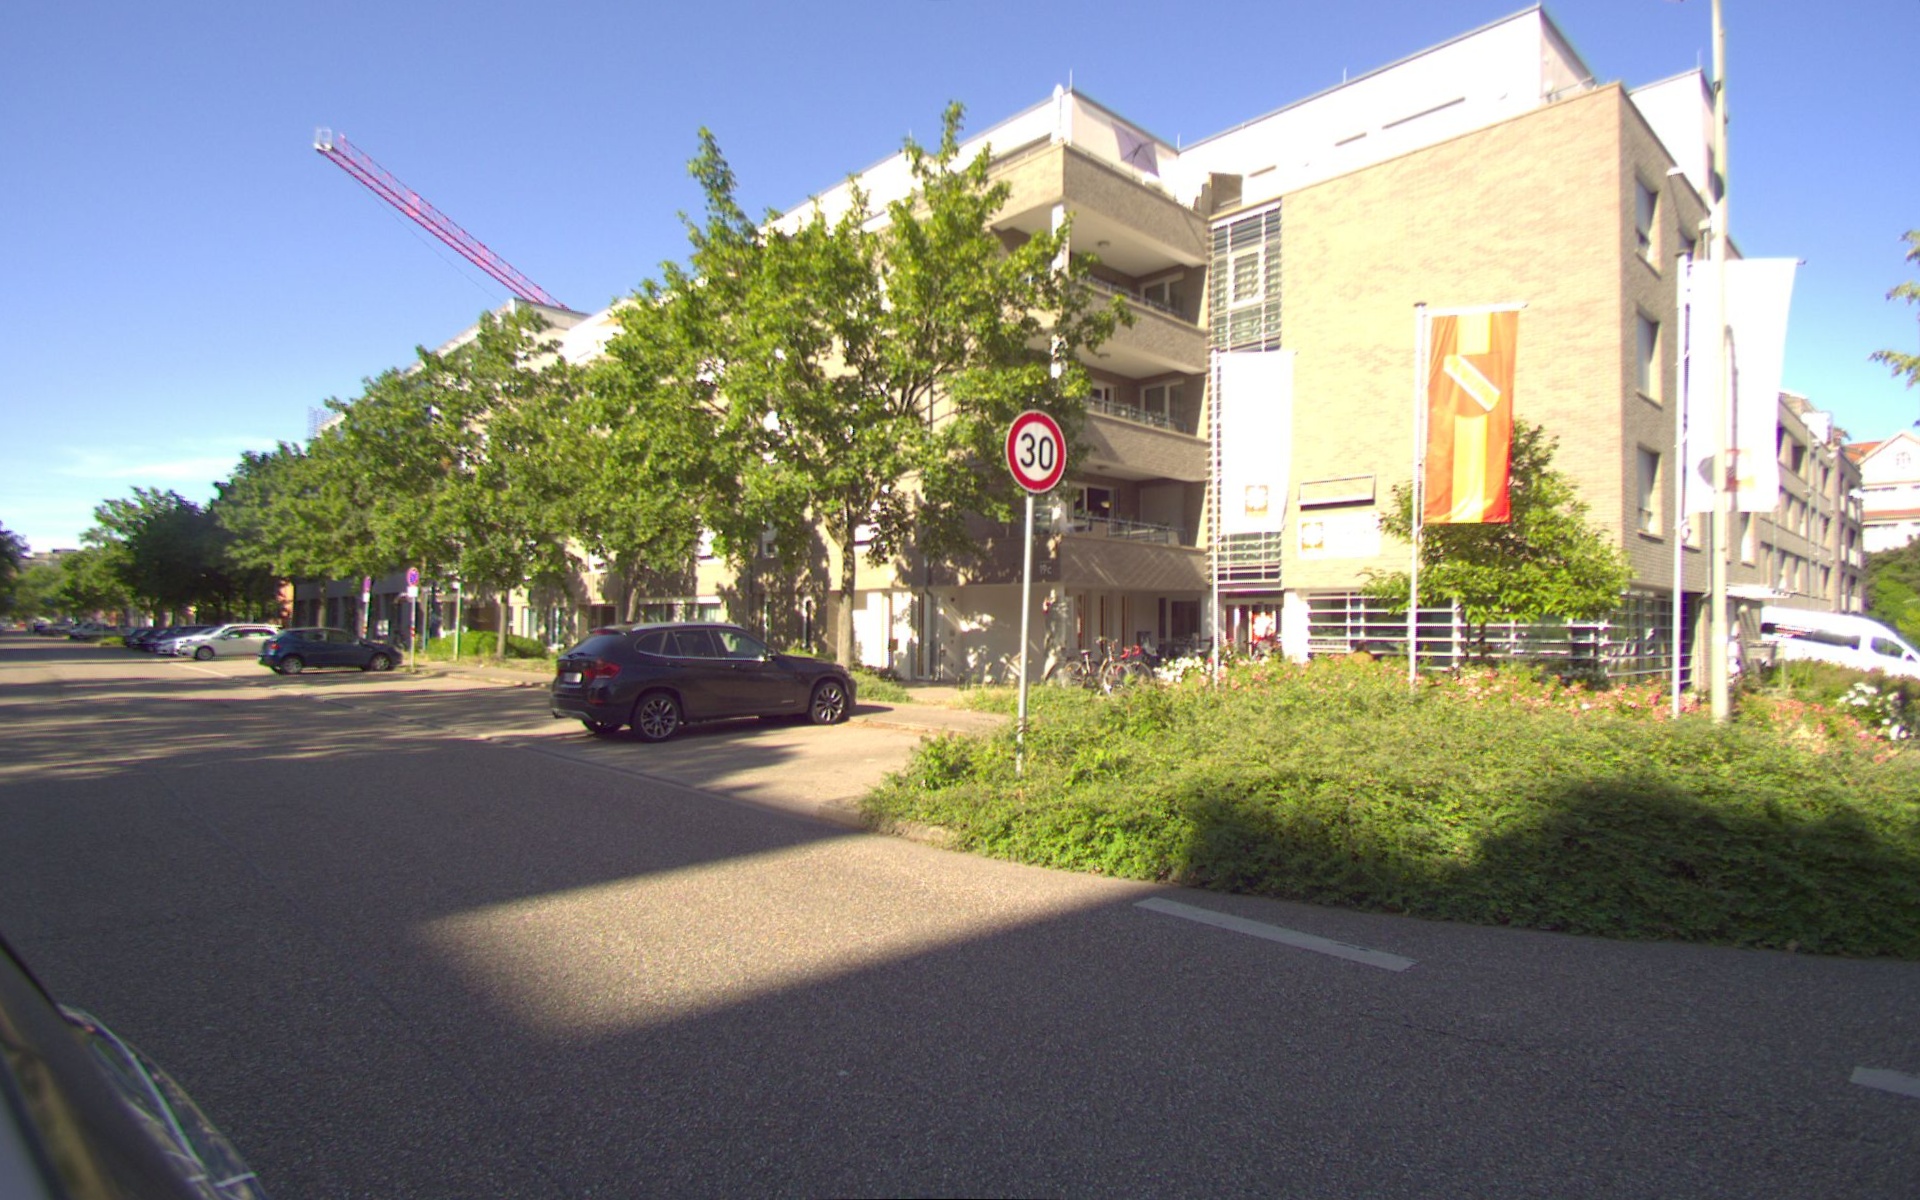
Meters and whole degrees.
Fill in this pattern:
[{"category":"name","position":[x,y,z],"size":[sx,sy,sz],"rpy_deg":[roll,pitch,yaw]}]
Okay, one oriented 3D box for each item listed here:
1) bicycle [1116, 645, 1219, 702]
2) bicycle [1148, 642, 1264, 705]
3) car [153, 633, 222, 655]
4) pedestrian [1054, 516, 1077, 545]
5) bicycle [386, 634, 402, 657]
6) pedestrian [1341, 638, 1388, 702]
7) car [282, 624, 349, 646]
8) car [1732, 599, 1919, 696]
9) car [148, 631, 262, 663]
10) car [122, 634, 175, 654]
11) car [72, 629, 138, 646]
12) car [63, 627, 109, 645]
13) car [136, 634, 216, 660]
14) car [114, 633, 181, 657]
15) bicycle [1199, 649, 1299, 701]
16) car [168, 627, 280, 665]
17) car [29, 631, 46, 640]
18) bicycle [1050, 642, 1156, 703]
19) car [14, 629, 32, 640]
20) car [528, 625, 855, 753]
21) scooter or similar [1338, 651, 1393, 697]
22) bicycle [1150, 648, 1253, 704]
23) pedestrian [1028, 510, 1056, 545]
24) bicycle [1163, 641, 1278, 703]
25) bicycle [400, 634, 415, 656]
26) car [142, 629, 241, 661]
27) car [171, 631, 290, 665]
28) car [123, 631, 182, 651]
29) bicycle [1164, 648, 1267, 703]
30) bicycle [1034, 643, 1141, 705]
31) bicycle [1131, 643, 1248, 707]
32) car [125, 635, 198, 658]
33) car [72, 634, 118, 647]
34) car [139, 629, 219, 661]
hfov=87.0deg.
[{"category":"bicycle","position":[4.170,1.467,20.527],"size":[0.432,1.055,2.195],"rpy_deg":[1,-2,-43]},{"category":"bicycle","position":[4.496,1.322,18.627],"size":[0.432,1.055,2.195],"rpy_deg":[1,-2,-43]},{"category":"car","position":[-51.972,2.944,68.117],"size":[1.658,1.456,3.491],"rpy_deg":[-1,-2,43]},{"category":"pedestrian","position":[2.641,-1.730,25.257],"size":[0.427,0.691,0.411],"rpy_deg":[-1,-2,38]},{"category":"bicycle","position":[-30.632,2.464,54.760],"size":[0.334,1.184,1.629],"rpy_deg":[1,-2,-43]},{"category":"pedestrian","position":[8.824,1.519,22.101],"size":[0.660,1.371,0.746],"rpy_deg":[3,-3,-42]},{"category":"car","position":[-63.979,3.416,100.520],"size":[1.933,2.115,5.254],"rpy_deg":[-2,-2,44]},{"category":"car","position":[28.474,1.533,32.517],"size":[5.468,2.400,1.894],"rpy_deg":[9,4,44]},{"category":"car","position":[-38.907,2.395,52.228],"size":[1.941,1.462,4.460],"rpy_deg":[-2,-2,42]},{"category":"car","position":[-59.148,3.195,73.757],"size":[2.891,1.454,1.391],"rpy_deg":[2,-2,-44]},{"category":"car","position":[-89.420,3.906,105.909],"size":[5.176,1.637,1.956],"rpy_deg":[1,-2,-42]},{"category":"car","position":[-103.417,4.247,119.736],"size":[2.001,2.123,3.941],"rpy_deg":[-2,-2,44]},{"category":"car","position":[-48.777,2.912,63.005],"size":[3.778,1.425,1.688],"rpy_deg":[0,-3,-45]},{"category":"car","position":[-56.267,3.099,70.124],"size":[3.489,1.518,1.647],"rpy_deg":[1,-2,-45]},{"category":"bicycle","position":[6.338,1.630,22.308],"size":[0.432,1.055,2.195],"rpy_deg":[1,-2,-43]},{"category":"car","position":[-35.369,2.163,48.706],"size":[4.175,1.614,1.955],"rpy_deg":[0,0,-43]},{"category":"car","position":[-142.773,5.533,156.586],"size":[1.740,1.383,4.006],"rpy_deg":[3,-4,-40]},{"category":"bicycle","position":[2.651,1.337,19.008],"size":[0.432,1.055,2.195],"rpy_deg":[1,-2,-43]},{"category":"car","position":[-148.600,5.503,160.487],"size":[1.922,1.639,4.006],"rpy_deg":[3,-3,-40]},{"category":"car","position":[-3.657,1.123,14.288],"size":[4.143,1.531,1.773],"rpy_deg":[1,-2,-44]},{"category":"scooter or similar","position":[8.851,1.606,22.099],"size":[0.793,0.961,0.869],"rpy_deg":[2,-3,-42]},{"category":"bicycle","position":[4.944,1.536,20.884],"size":[0.432,1.055,2.195],"rpy_deg":[1,-2,-43]},{"category":"pedestrian","position":[2.042,-1.793,25.232],"size":[0.363,0.804,0.674],"rpy_deg":[-1,-2,39]},{"category":"bicycle","position":[4.848,1.320,18.965],"size":[0.432,1.055,2.195],"rpy_deg":[1,-2,-43]},{"category":"bicycle","position":[-30.308,2.438,55.484],"size":[0.334,1.184,1.629],"rpy_deg":[1,-2,-43]},{"category":"car","position":[-41.130,2.379,54.211],"size":[4.063,1.632,1.805],"rpy_deg":[1,-2,-42]},{"category":"car","position":[-33.340,2.153,46.311],"size":[4.209,1.491,1.801],"rpy_deg":[2,-3,-45]},{"category":"car","position":[-65.285,3.320,81.815],"size":[1.619,1.519,3.579],"rpy_deg":[-2,-2,45]},{"category":"bicycle","position":[5.329,1.554,21.248],"size":[0.432,1.055,2.195],"rpy_deg":[1,-2,-43]},{"category":"bicycle","position":[2.311,1.329,18.674],"size":[0.432,1.055,2.195],"rpy_deg":[1,-2,-43]},{"category":"bicycle","position":[4.104,1.327,18.294],"size":[0.432,1.055,2.195],"rpy_deg":[1,-2,-43]},{"category":"car","position":[-51.341,2.970,65.086],"size":[3.489,1.447,1.659],"rpy_deg":[1,-2,-45]},{"category":"car","position":[-97.995,4.583,114.621],"size":[3.910,1.483,1.956],"rpy_deg":[1,-2,-42]},{"category":"car","position":[-44.335,2.537,57.496],"size":[3.528,1.681,1.657],"rpy_deg":[0,-2,-41]}]
